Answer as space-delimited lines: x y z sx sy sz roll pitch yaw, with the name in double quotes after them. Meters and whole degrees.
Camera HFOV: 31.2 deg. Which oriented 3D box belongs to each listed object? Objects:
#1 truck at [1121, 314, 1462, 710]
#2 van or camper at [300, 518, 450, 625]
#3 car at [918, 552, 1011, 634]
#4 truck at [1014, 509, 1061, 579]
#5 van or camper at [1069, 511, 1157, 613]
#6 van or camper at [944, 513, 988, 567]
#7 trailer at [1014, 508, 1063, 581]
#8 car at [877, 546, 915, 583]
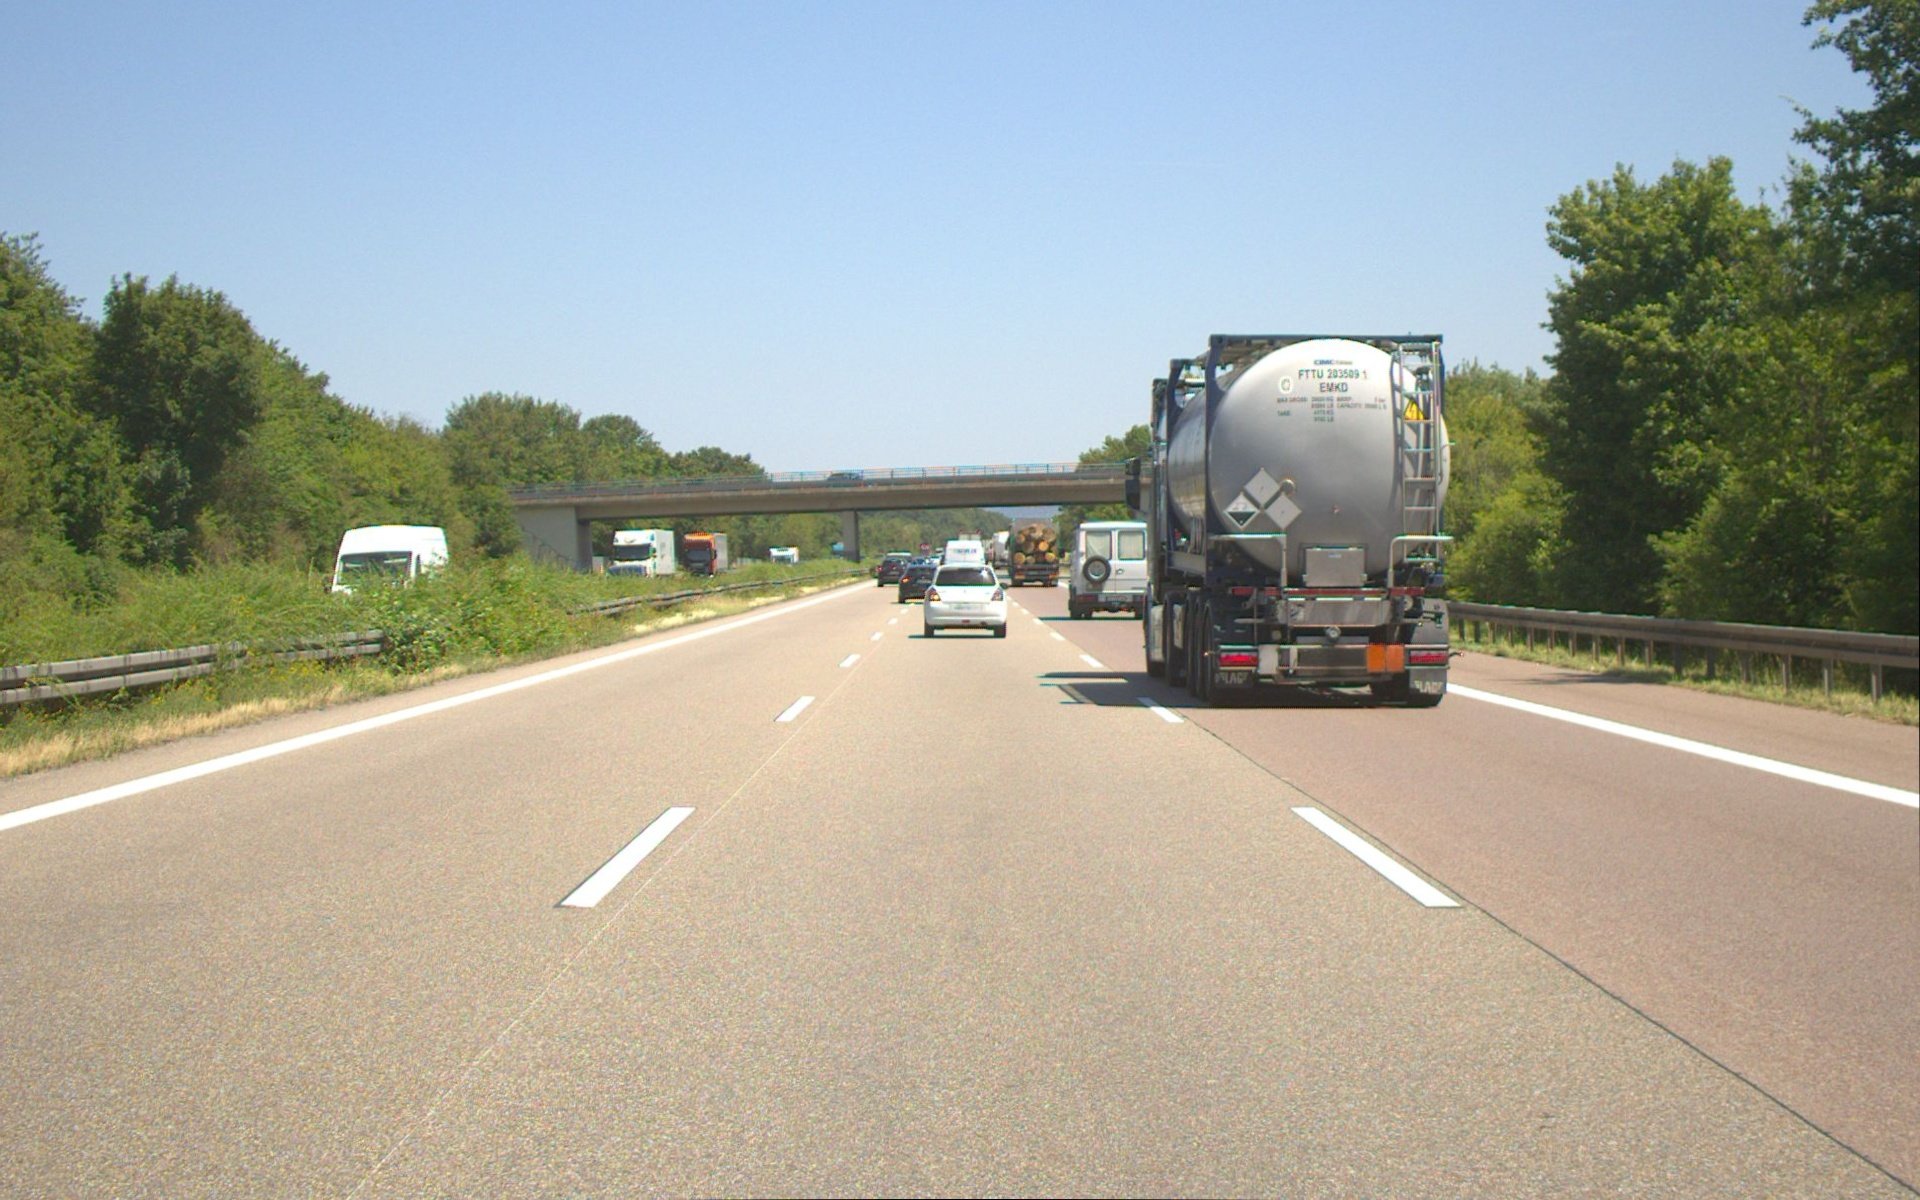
3.735 -0.972 42.115 2.798 4.032 13.355 1 1 0 "truck"
-13.481 -0.663 79.638 2.425 2.358 6.337 1 1 -1 "van or camper"
0.076 -0.161 71.504 1.857 1.646 4.000 1 1 -1 "car"
4.512 -3.264 201.152 2.670 3.981 6.636 0 1 1 "truck"
4.152 -1.041 94.255 2.113 2.694 6.368 0 1 0 "van or camper"
0.301 -2.936 170.145 2.058 2.613 5.985 0 1 1 "van or camper"
4.368 -3.114 193.893 2.653 3.945 13.636 0 1 1 "trailer"
-3.547 -1.961 192.208 2.051 2.007 4.176 1 1 0 "car"
